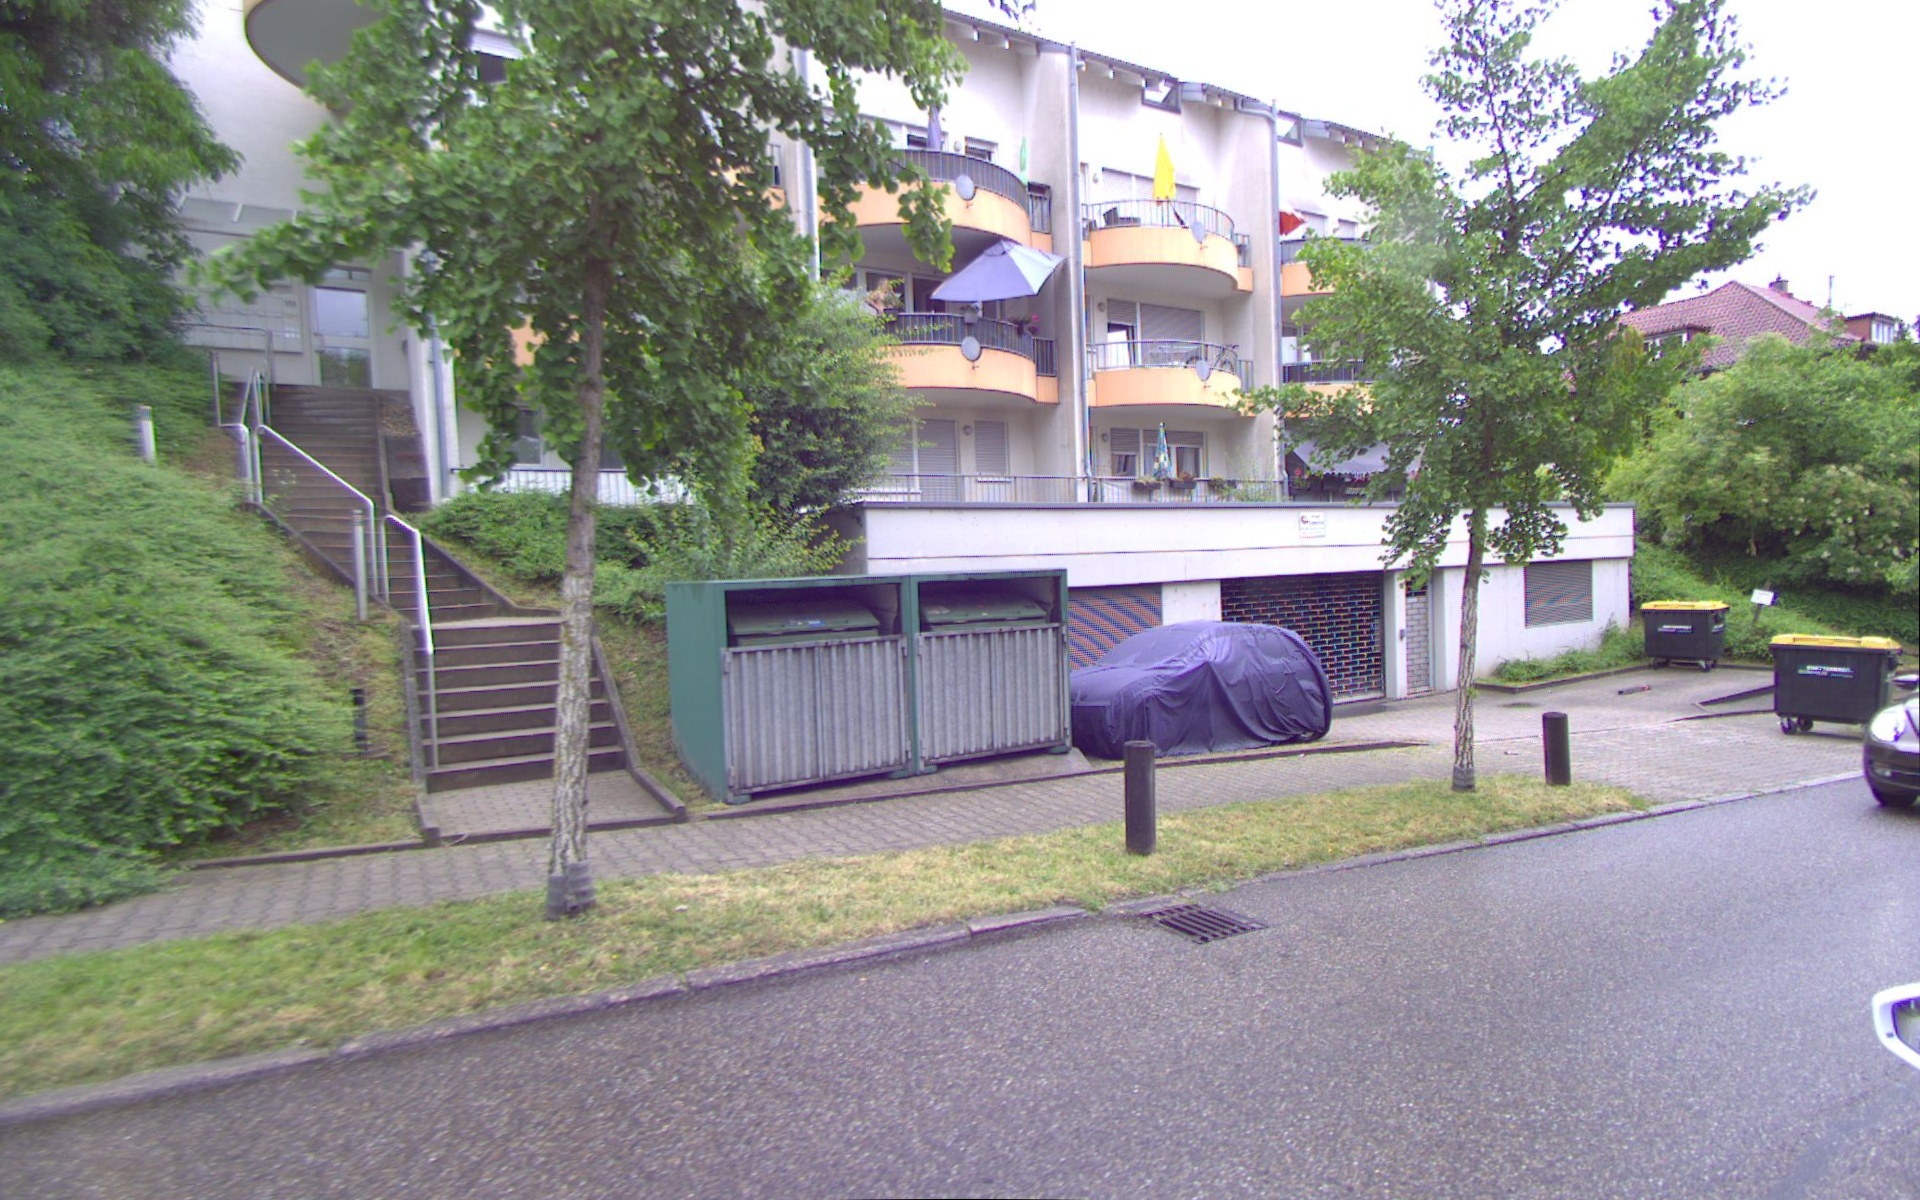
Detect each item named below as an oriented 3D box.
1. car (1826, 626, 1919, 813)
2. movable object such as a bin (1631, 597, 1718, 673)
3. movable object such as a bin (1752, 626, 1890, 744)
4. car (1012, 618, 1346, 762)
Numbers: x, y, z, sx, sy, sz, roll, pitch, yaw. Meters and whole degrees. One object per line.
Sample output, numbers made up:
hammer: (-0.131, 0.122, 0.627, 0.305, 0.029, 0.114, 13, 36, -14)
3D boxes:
car: (9.551, 0.968, 8.714, 4.039, 1.488, 1.842, 1, -3, -30)
movable object such as a bin: (14.029, 0.656, 19.744, 0.483, 1.406, 1.265, 0, 2, -32)
movable object such as a bin: (11.324, 1.087, 13.249, 0.483, 1.406, 1.265, 0, 2, -32)
car: (2.691, 0.994, 12.103, 3.843, 1.475, 1.732, 1, -3, -33)
